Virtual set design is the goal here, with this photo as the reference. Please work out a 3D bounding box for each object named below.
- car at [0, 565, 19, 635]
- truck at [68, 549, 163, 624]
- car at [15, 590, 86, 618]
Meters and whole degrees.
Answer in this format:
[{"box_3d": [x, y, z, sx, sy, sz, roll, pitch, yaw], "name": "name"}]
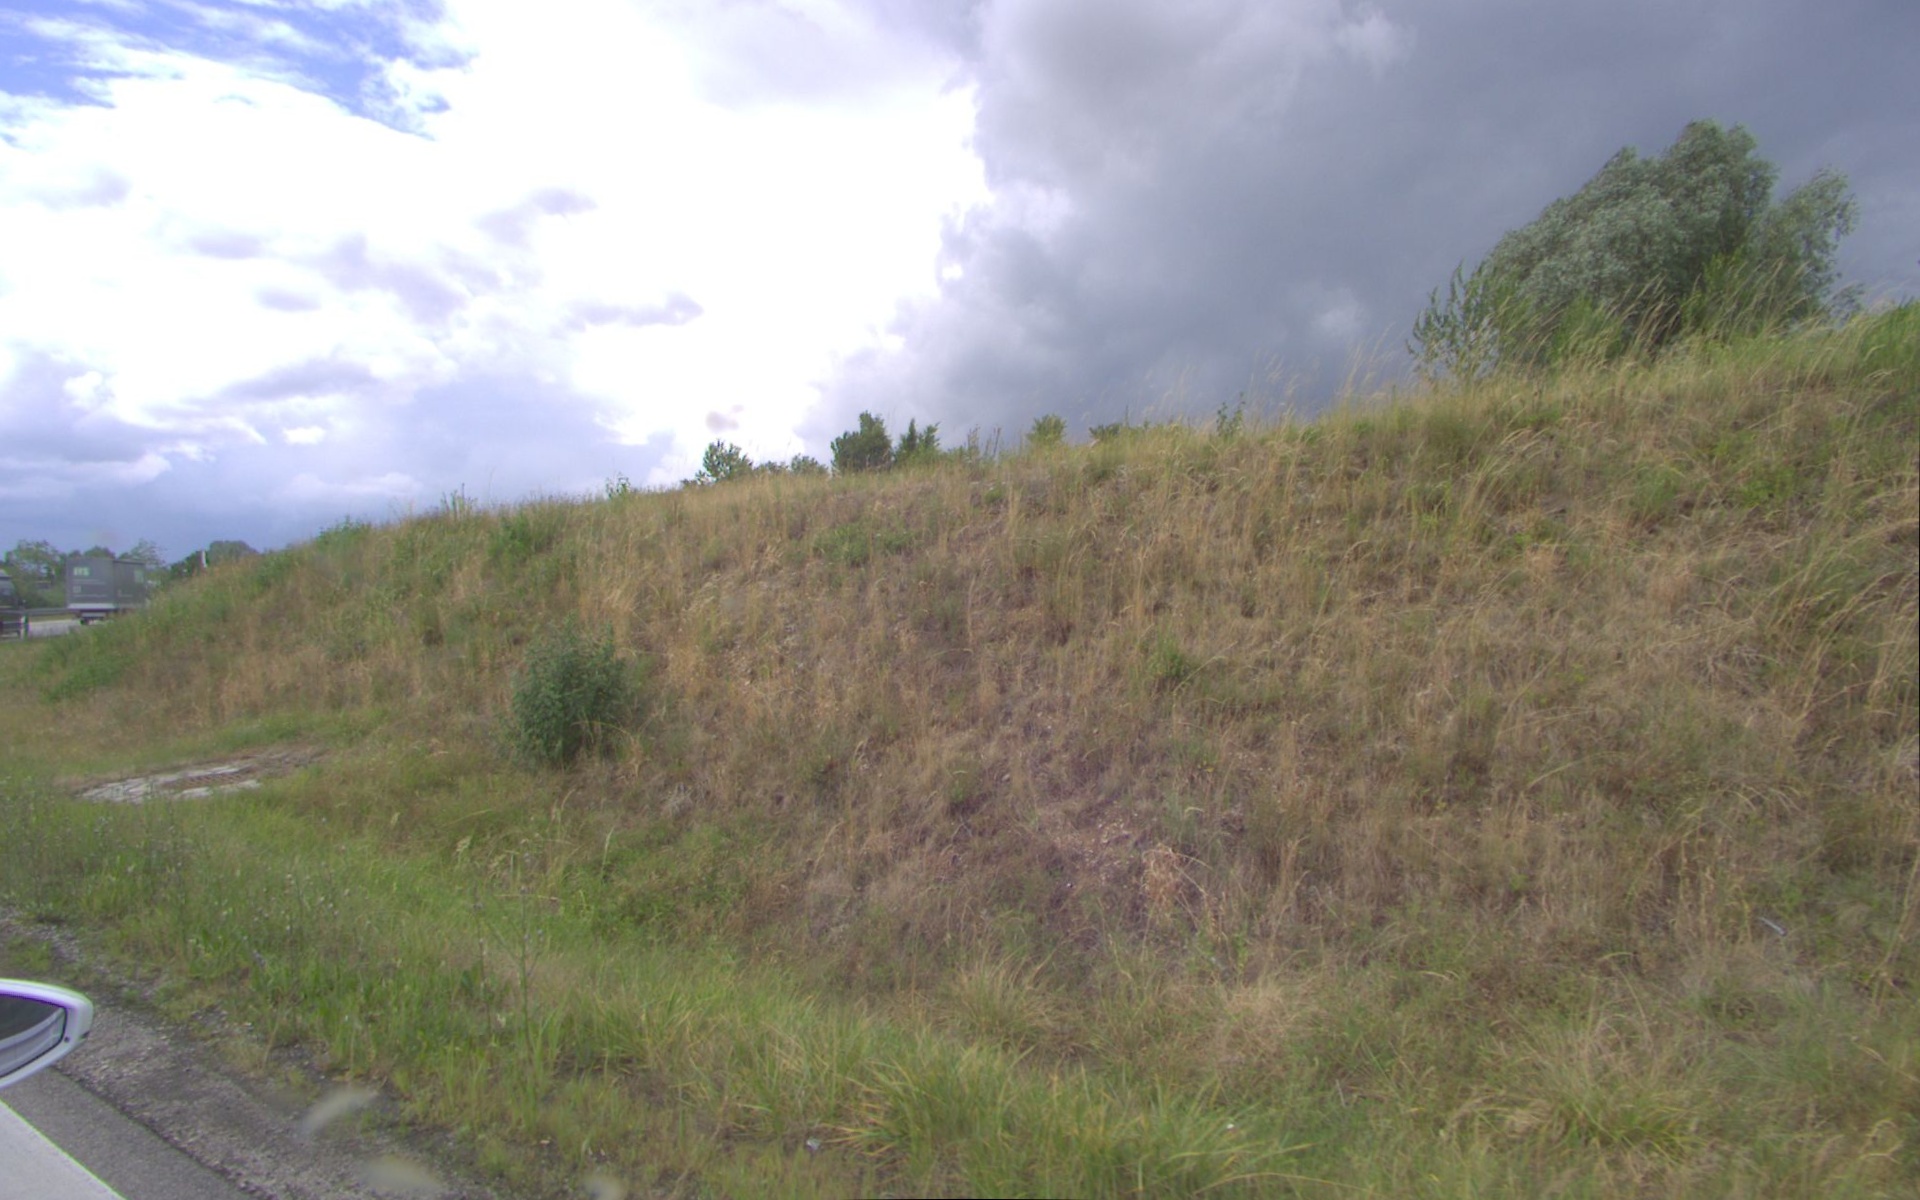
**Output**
[{"box_3d": [-40.606, -0.008, 41.097, 2.082, 2.832, 3.978, 1, -1, -31], "name": "car"}, {"box_3d": [-48.374, -0.665, 57.540, 2.198, 3.956, 6.003, 0, -2, -20], "name": "truck"}, {"box_3d": [-53.882, 0.269, 59.423, 1.771, 1.576, 3.951, -1, -1, -21], "name": "car"}]
